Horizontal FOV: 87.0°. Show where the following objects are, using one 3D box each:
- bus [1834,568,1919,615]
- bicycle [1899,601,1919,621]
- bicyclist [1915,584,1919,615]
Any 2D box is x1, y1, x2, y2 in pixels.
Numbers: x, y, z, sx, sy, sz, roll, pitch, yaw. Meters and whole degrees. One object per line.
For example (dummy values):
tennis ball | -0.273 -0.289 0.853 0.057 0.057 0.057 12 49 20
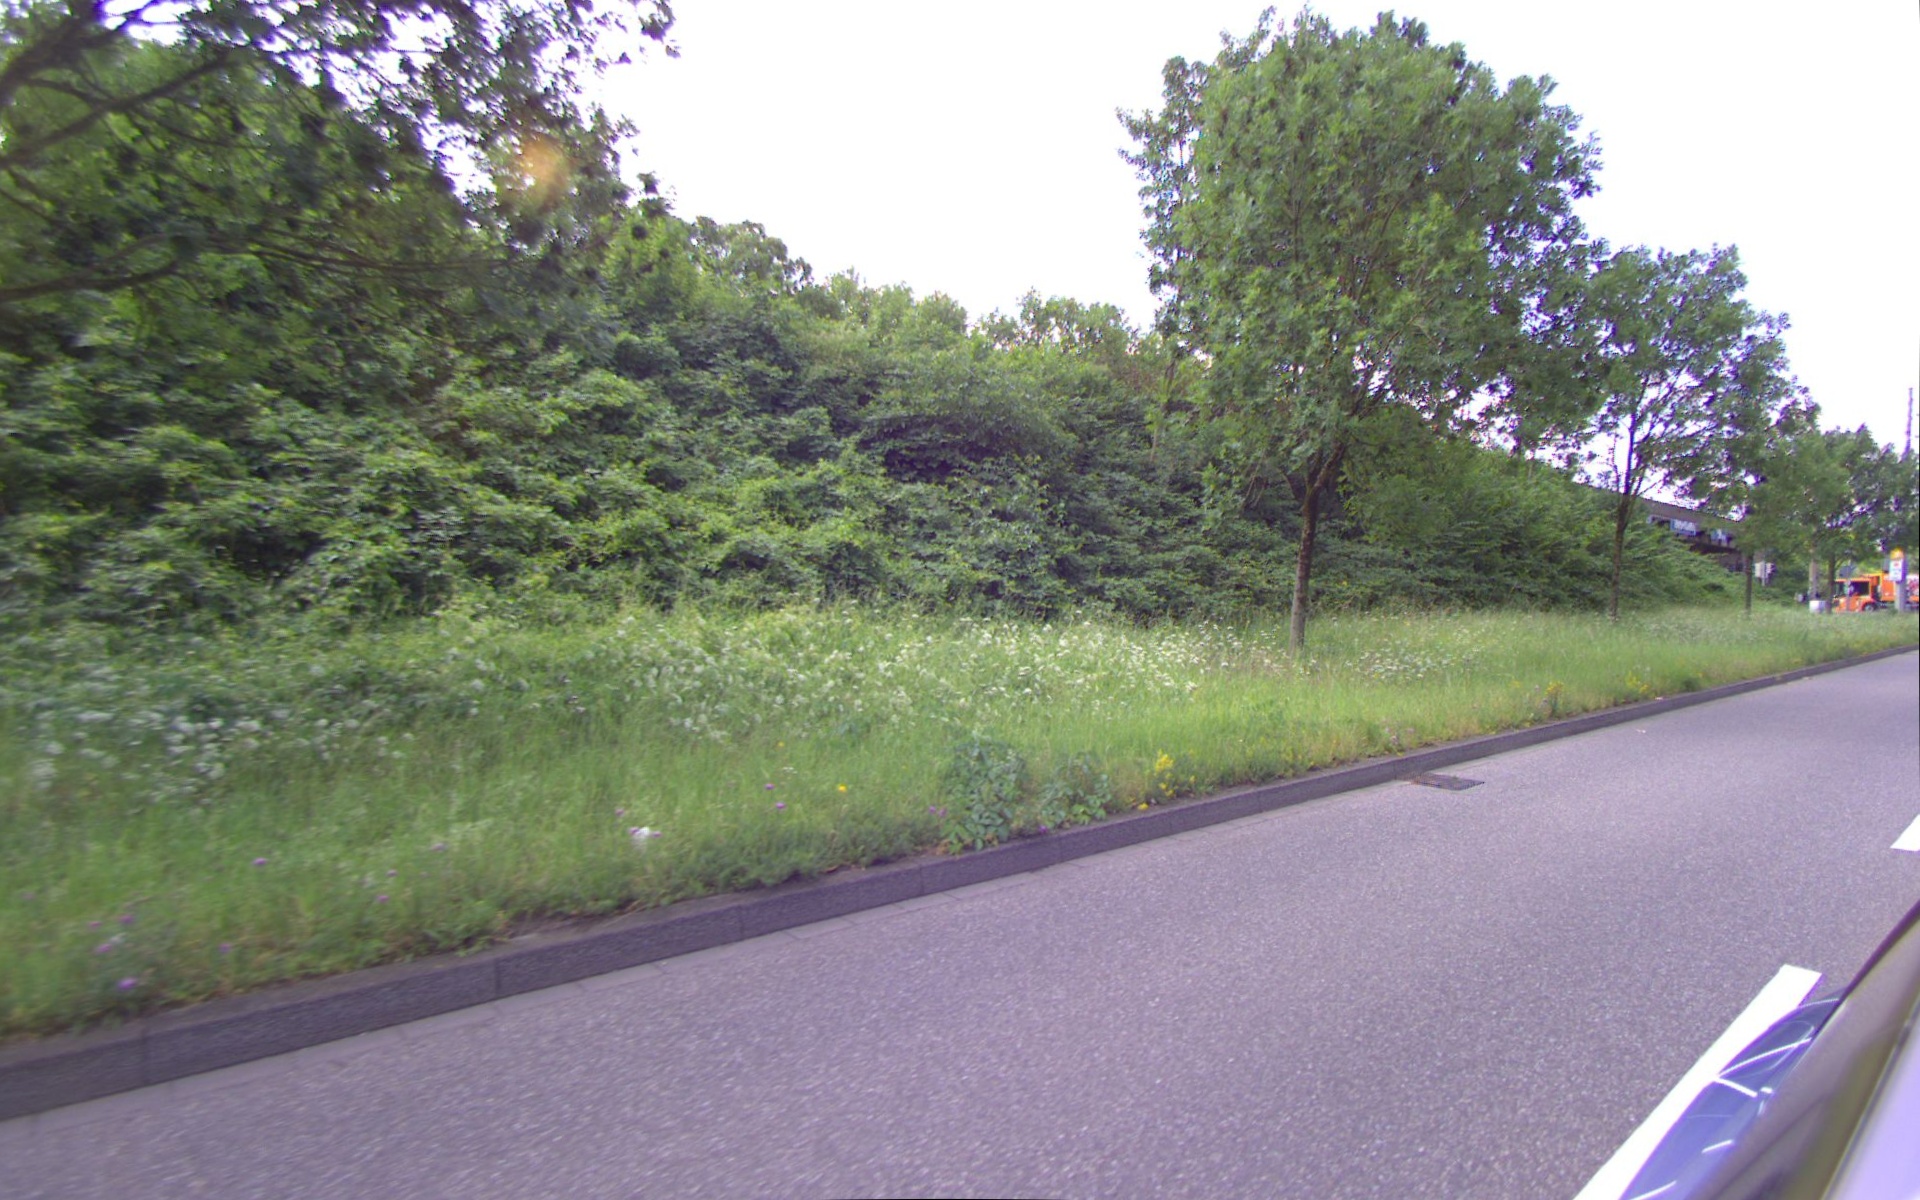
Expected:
bus | 74.346 -0.723 78.048 10.243 3.508 2.735 -1 1 15
bicycle | 55.152 0.633 57.651 2.291 1.106 0.840 0 4 22
bicyclist | 55.124 -0.016 57.625 0.814 1.698 0.840 0 4 22
